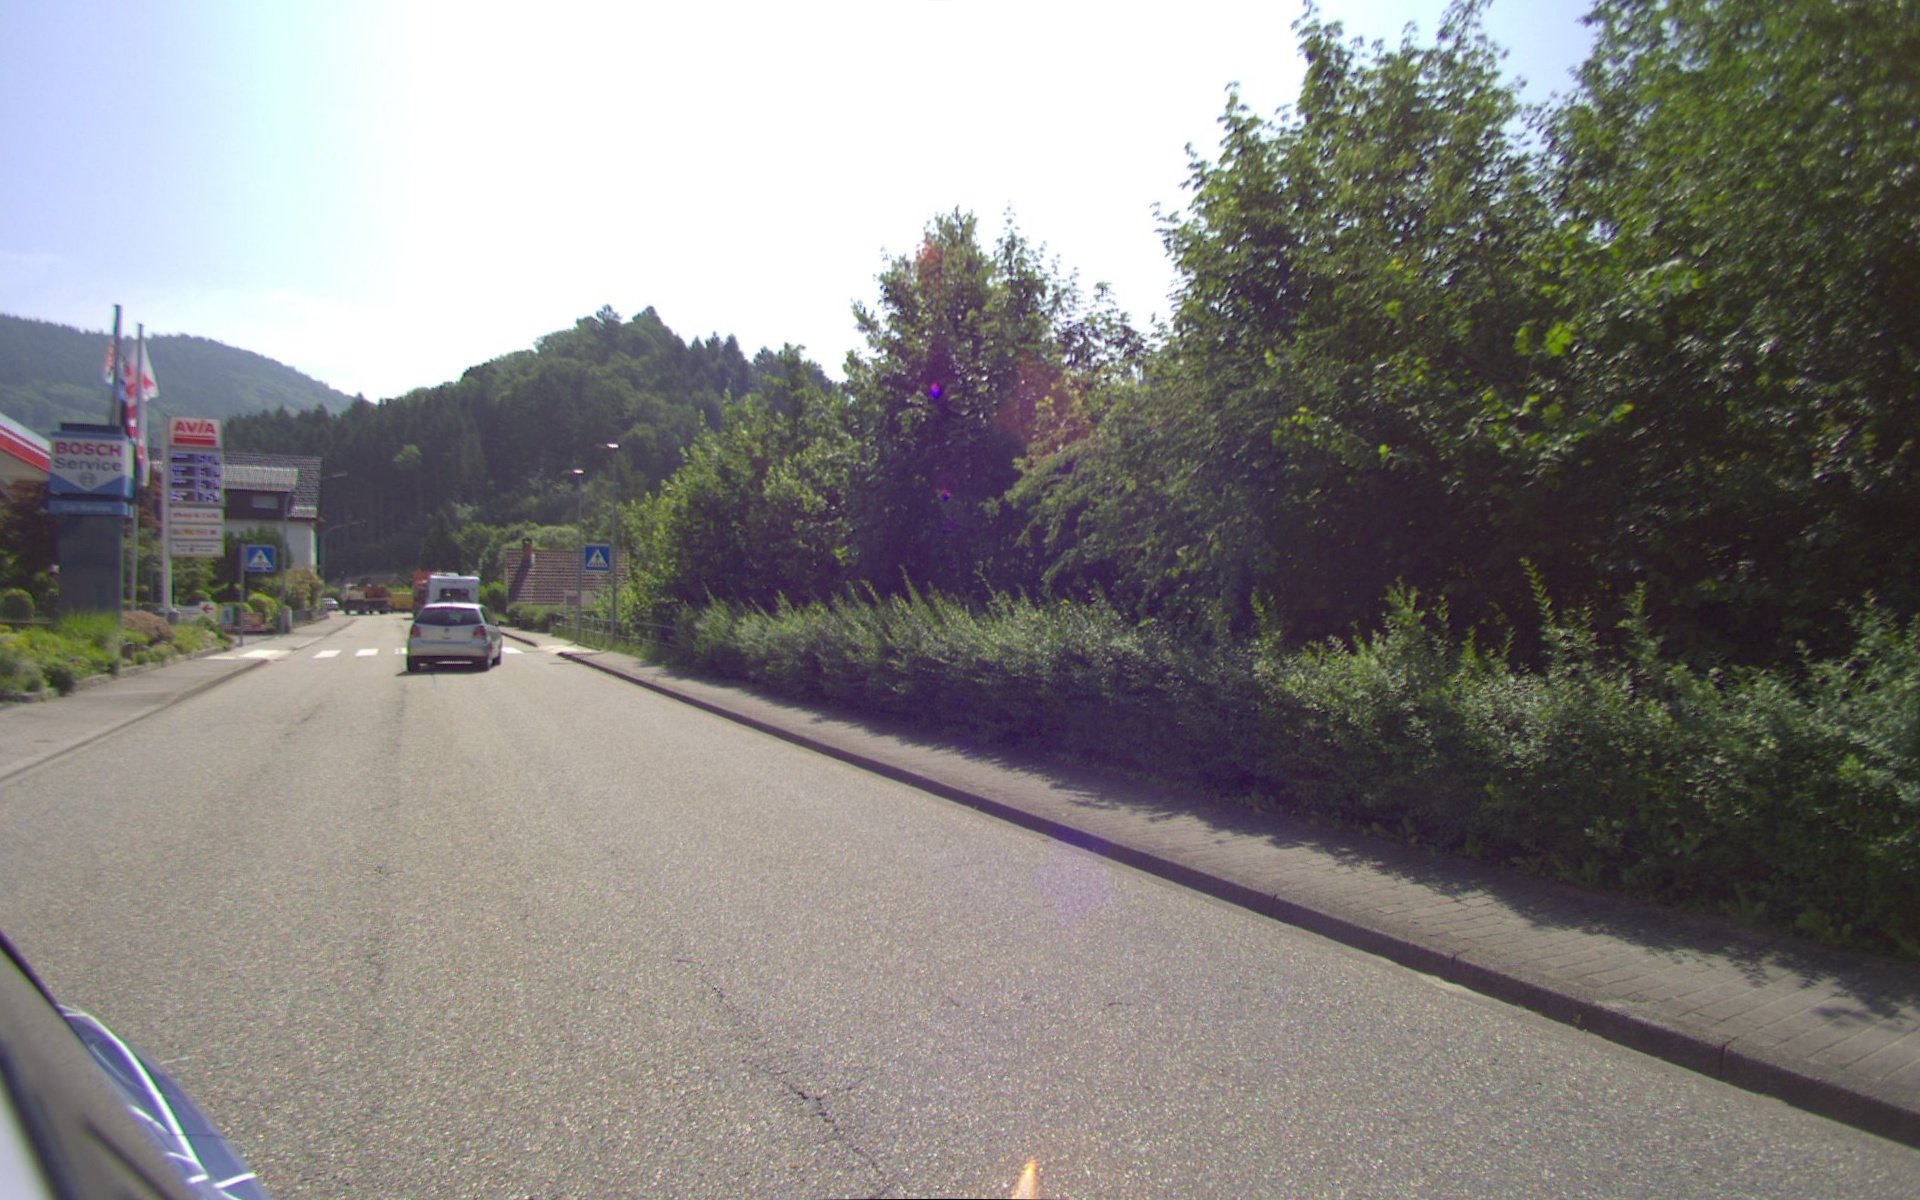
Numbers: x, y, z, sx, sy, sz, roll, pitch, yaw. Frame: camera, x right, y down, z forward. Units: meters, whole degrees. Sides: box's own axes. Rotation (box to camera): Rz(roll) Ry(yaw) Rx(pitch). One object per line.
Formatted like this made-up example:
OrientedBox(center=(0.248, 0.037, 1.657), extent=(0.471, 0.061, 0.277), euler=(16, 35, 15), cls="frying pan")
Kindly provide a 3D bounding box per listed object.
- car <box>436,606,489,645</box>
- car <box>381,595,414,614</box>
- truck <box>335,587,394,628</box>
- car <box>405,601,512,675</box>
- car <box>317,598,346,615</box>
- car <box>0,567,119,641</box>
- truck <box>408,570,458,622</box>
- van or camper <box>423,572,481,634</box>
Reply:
OrientedBox(center=(-19.755, 0.987, 40.124), extent=(1.582, 1.416, 3.839), euler=(4, -2, -29), cls="car")
OrientedBox(center=(-55.902, 0.469, 100.502), extent=(3.578, 1.678, 1.756), euler=(2, -3, 44), cls="car")
OrientedBox(center=(-56.601, 0.685, 96.145), extent=(7.775, 3.609, 2.615), euler=(1, -2, 43), cls="truck")
OrientedBox(center=(-11.316, 0.838, 23.045), extent=(1.568, 1.493, 3.768), euler=(3, -2, -17), cls="car")
OrientedBox(center=(-67.180, 0.728, 108.170), extent=(1.762, 1.586, 3.600), euler=(6, -3, -45), cls="car")
OrientedBox(center=(-22.289, 0.097, 24.824), extent=(1.668, 1.589, 3.923), euler=(5, -3, -28), cls="car")
OrientedBox(center=(-40.332, -0.281, 77.340), extent=(2.607, 3.609, 8.217), euler=(3, -2, -32), cls="truck")
OrientedBox(center=(-27.031, 0.237, 53.698), extent=(2.325, 2.975, 8.076), euler=(3, -2, -29), cls="van or camper")
